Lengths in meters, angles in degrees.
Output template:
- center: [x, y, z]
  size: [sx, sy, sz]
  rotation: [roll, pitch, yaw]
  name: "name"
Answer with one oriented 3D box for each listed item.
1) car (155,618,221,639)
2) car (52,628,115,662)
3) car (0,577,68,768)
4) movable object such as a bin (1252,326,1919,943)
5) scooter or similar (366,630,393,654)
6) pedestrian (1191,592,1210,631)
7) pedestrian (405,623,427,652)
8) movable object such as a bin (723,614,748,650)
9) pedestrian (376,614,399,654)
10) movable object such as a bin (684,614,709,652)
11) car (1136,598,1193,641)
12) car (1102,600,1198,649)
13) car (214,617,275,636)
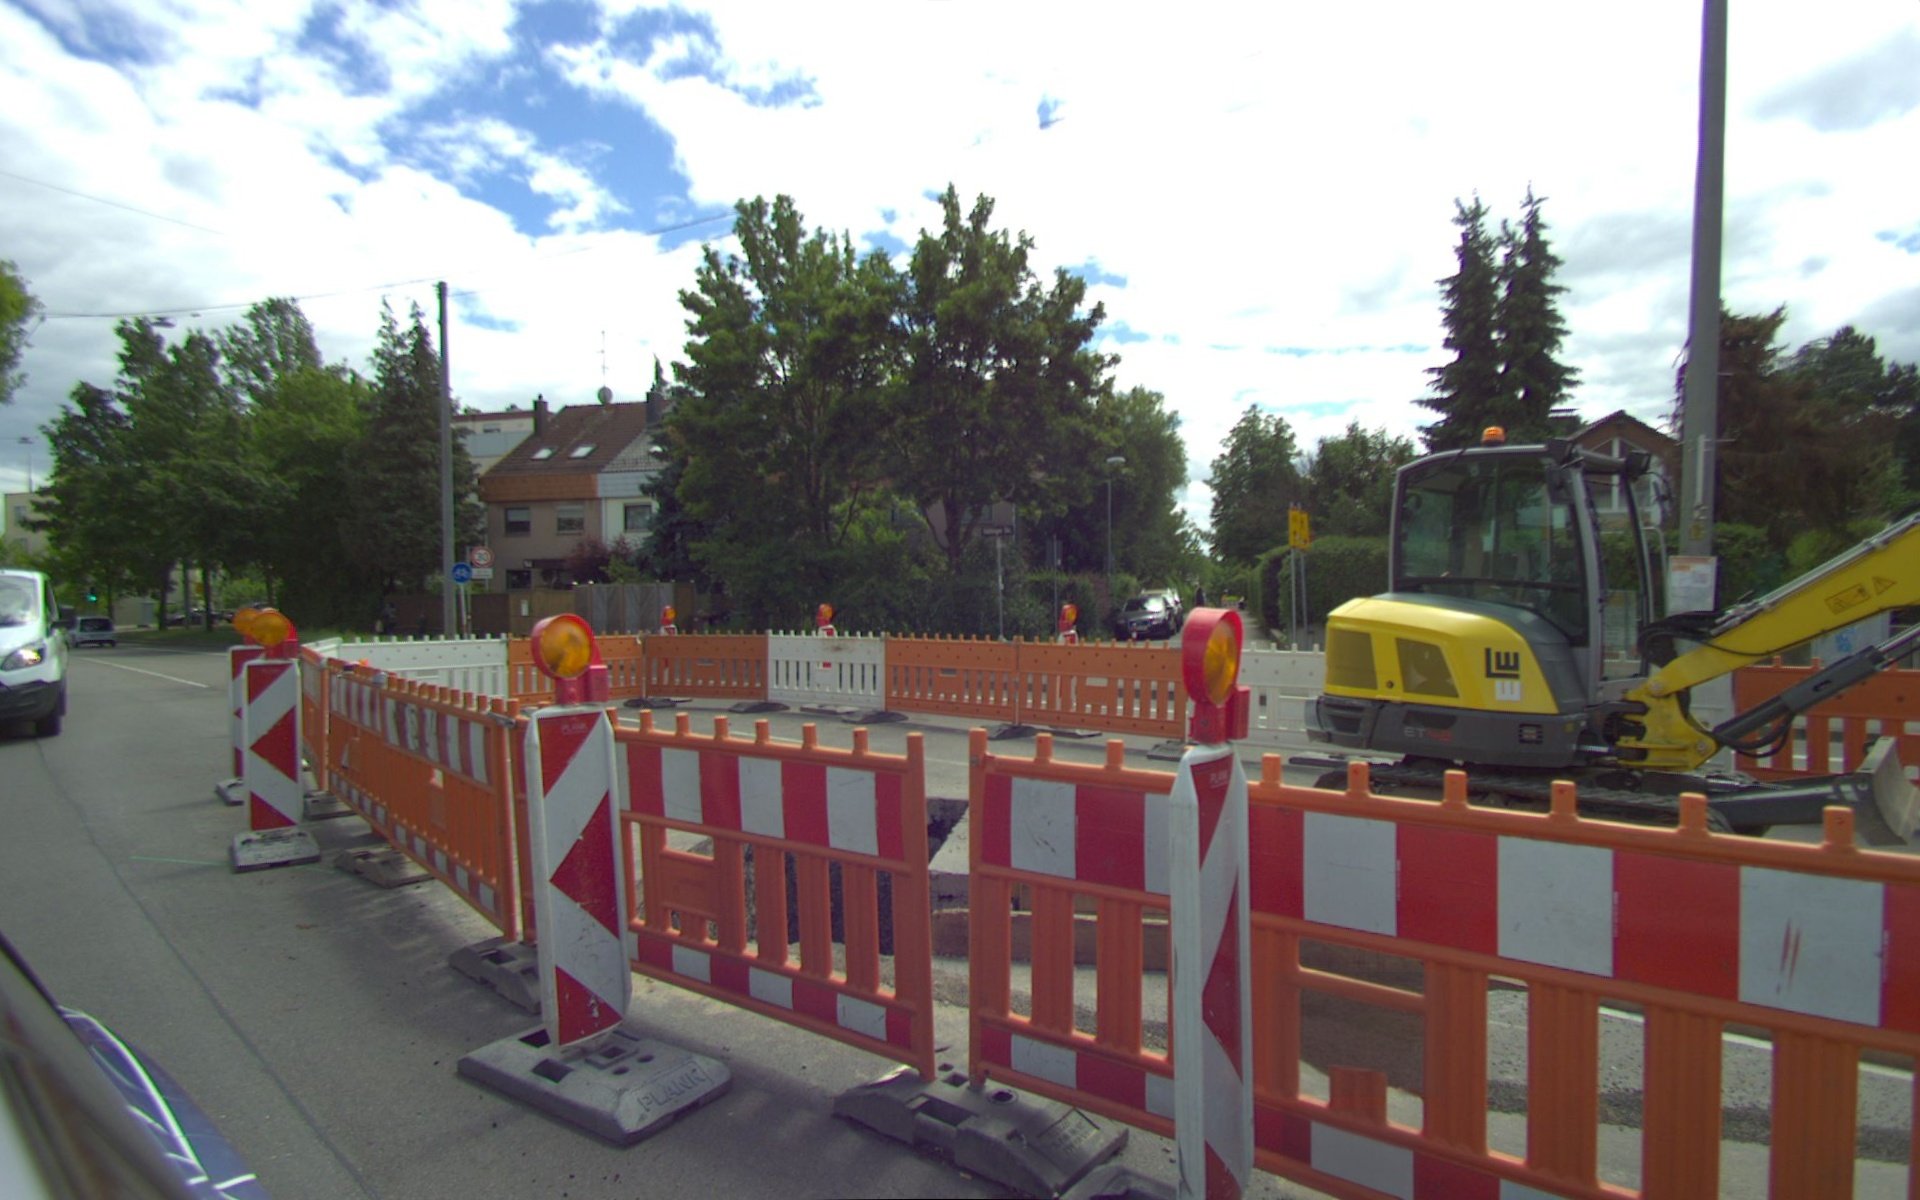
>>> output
- center: [-63.941, 2.359, 83.924]
  size: [1.982, 1.519, 3.980]
  rotation: [-1, 0, 16]
  name: "car"
- center: [-42.816, 2.148, 49.423]
  size: [3.996, 1.524, 1.676]
  rotation: [-1, -1, 40]
  name: "car"
- center: [-12.528, 0.781, 12.468]
  size: [1.971, 2.028, 5.517]
  rotation: [-2, 2, -44]
  name: "car"
- center: [4.859, 0.148, 4.979]
  size: [1.969, 2.645, 6.530]
  rotation: [0, -1, -42]
  name: "movable object such as a bin"
- center: [-22.087, 1.581, 38.515]
  size: [1.030, 0.871, 0.629]
  rotation: [-1, 0, 44]
  name: "scooter or similar"
- center: [10.751, 0.518, 45.274]
  size: [0.702, 1.741, 0.668]
  rotation: [-1, -1, 22]
  name: "pedestrian"
- center: [-20.951, 1.450, 38.983]
  size: [0.642, 1.094, 0.548]
  rotation: [-1, 0, 44]
  name: "pedestrian"
- center: [-6.189, 0.882, 27.894]
  size: [0.545, 0.985, 0.368]
  rotation: [-1, -1, 28]
  name: "movable object such as a bin"
- center: [-21.457, 1.269, 37.925]
  size: [0.642, 1.492, 0.548]
  rotation: [-1, 0, 44]
  name: "pedestrian"
- center: [-7.219, 0.905, 27.763]
  size: [0.495, 1.018, 0.470]
  rotation: [-1, -1, 41]
  name: "movable object such as a bin"
- center: [7.839, 0.705, 38.564]
  size: [1.874, 1.545, 3.979]
  rotation: [-1, -1, 16]
  name: "car"
- center: [6.392, 0.781, 33.742]
  size: [1.884, 1.545, 3.958]
  rotation: [-1, -1, 31]
  name: "car"
- center: [-62.717, 2.294, 88.774]
  size: [1.983, 1.519, 3.977]
  rotation: [-1, 0, 18]
  name: "car"
